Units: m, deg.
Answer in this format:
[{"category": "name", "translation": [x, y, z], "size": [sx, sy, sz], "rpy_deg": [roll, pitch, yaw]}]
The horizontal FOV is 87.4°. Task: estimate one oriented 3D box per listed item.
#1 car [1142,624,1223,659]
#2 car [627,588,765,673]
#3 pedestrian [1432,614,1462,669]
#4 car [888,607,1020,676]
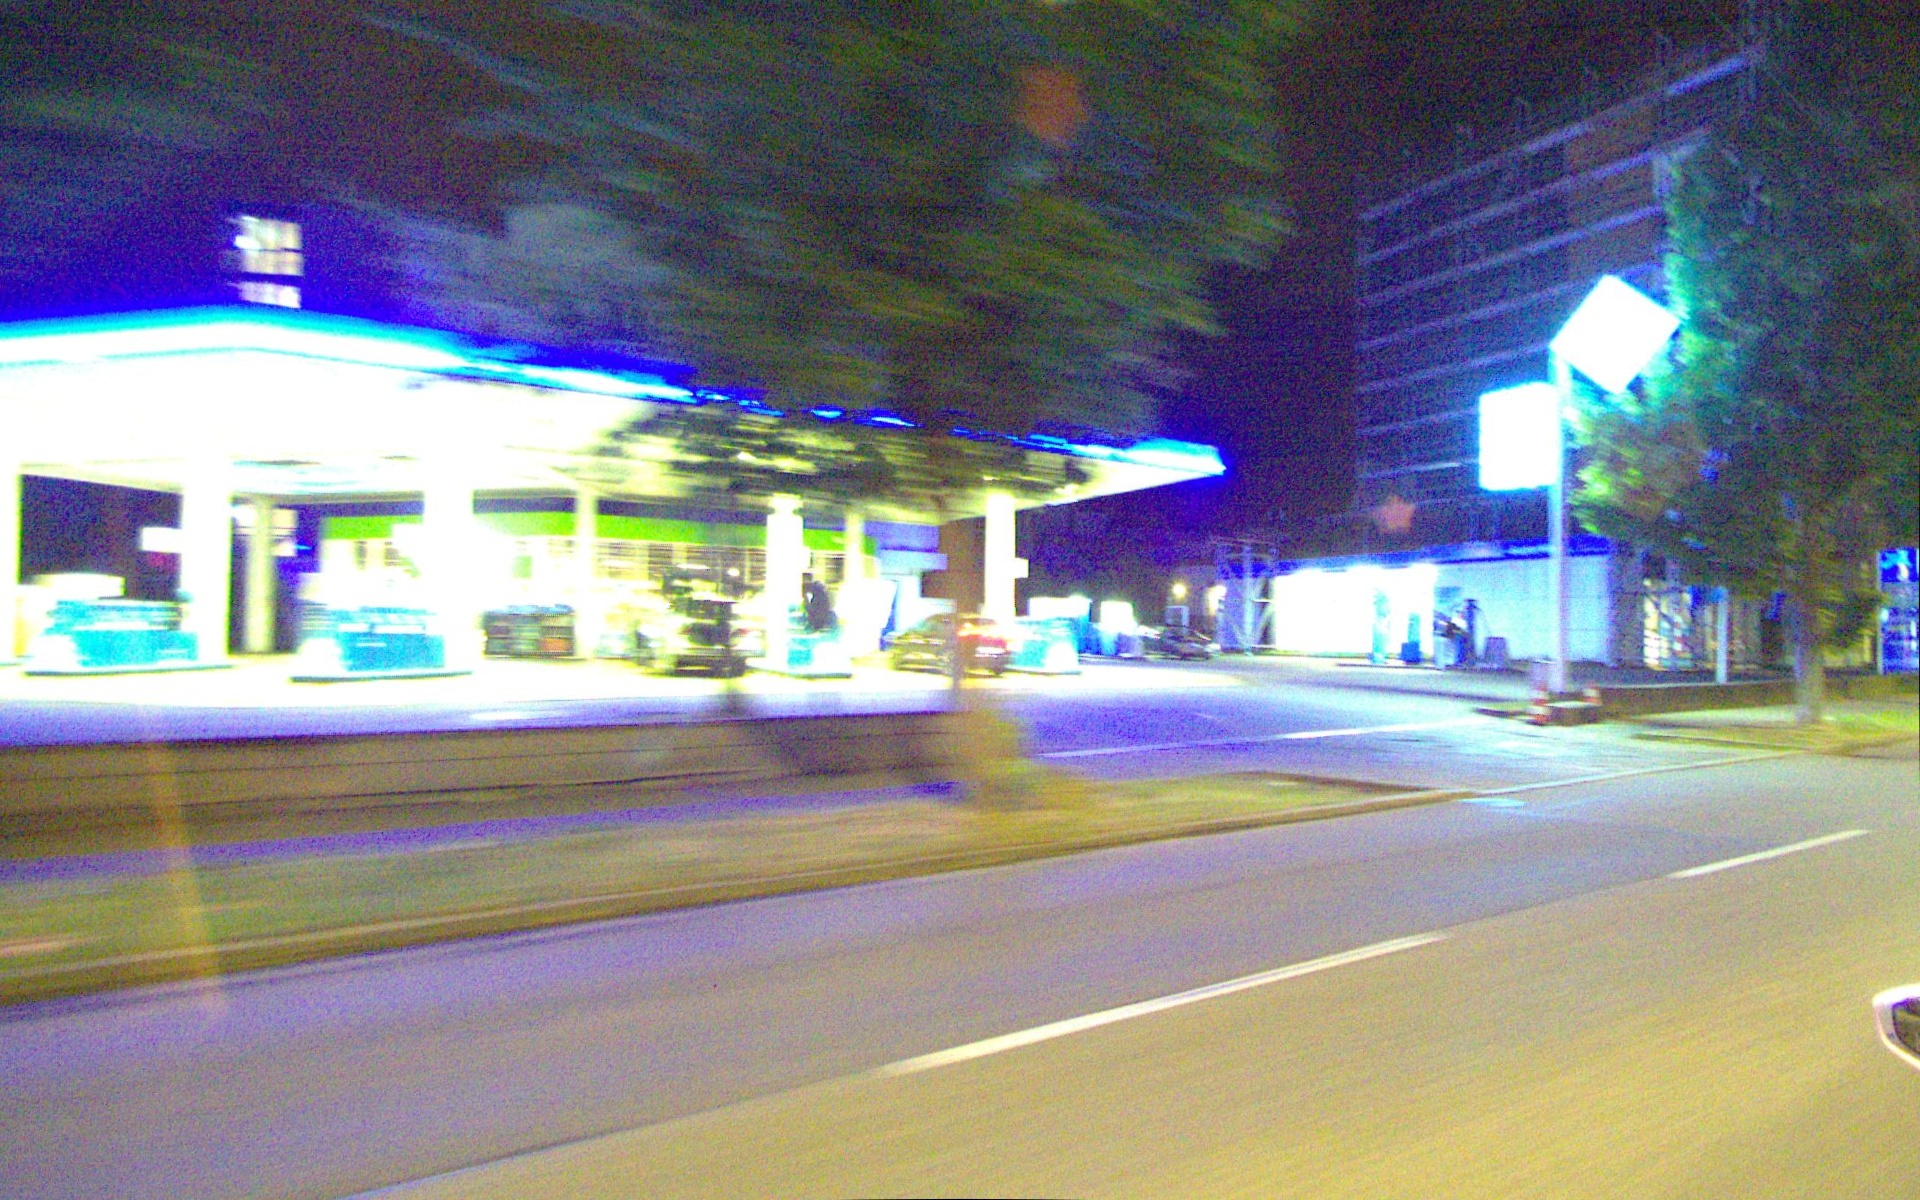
[{"category": "car", "translation": [9.191, 1.695, 41.633], "size": [1.557, 1.282, 3.132], "rpy_deg": [1, 0, -31]}, {"category": "car", "translation": [-6.184, 0.664, 23.171], "size": [1.956, 1.750, 4.324], "rpy_deg": [1, -1, -31]}, {"category": "pedestrian", "translation": [14.857, 1.262, 30.668], "size": [0.636, 1.627, 0.572], "rpy_deg": [2, -1, -32]}, {"category": "car", "translation": [-0.232, 0.992, 25.357], "size": [1.651, 1.553, 3.731], "rpy_deg": [1, -1, -31]}]
